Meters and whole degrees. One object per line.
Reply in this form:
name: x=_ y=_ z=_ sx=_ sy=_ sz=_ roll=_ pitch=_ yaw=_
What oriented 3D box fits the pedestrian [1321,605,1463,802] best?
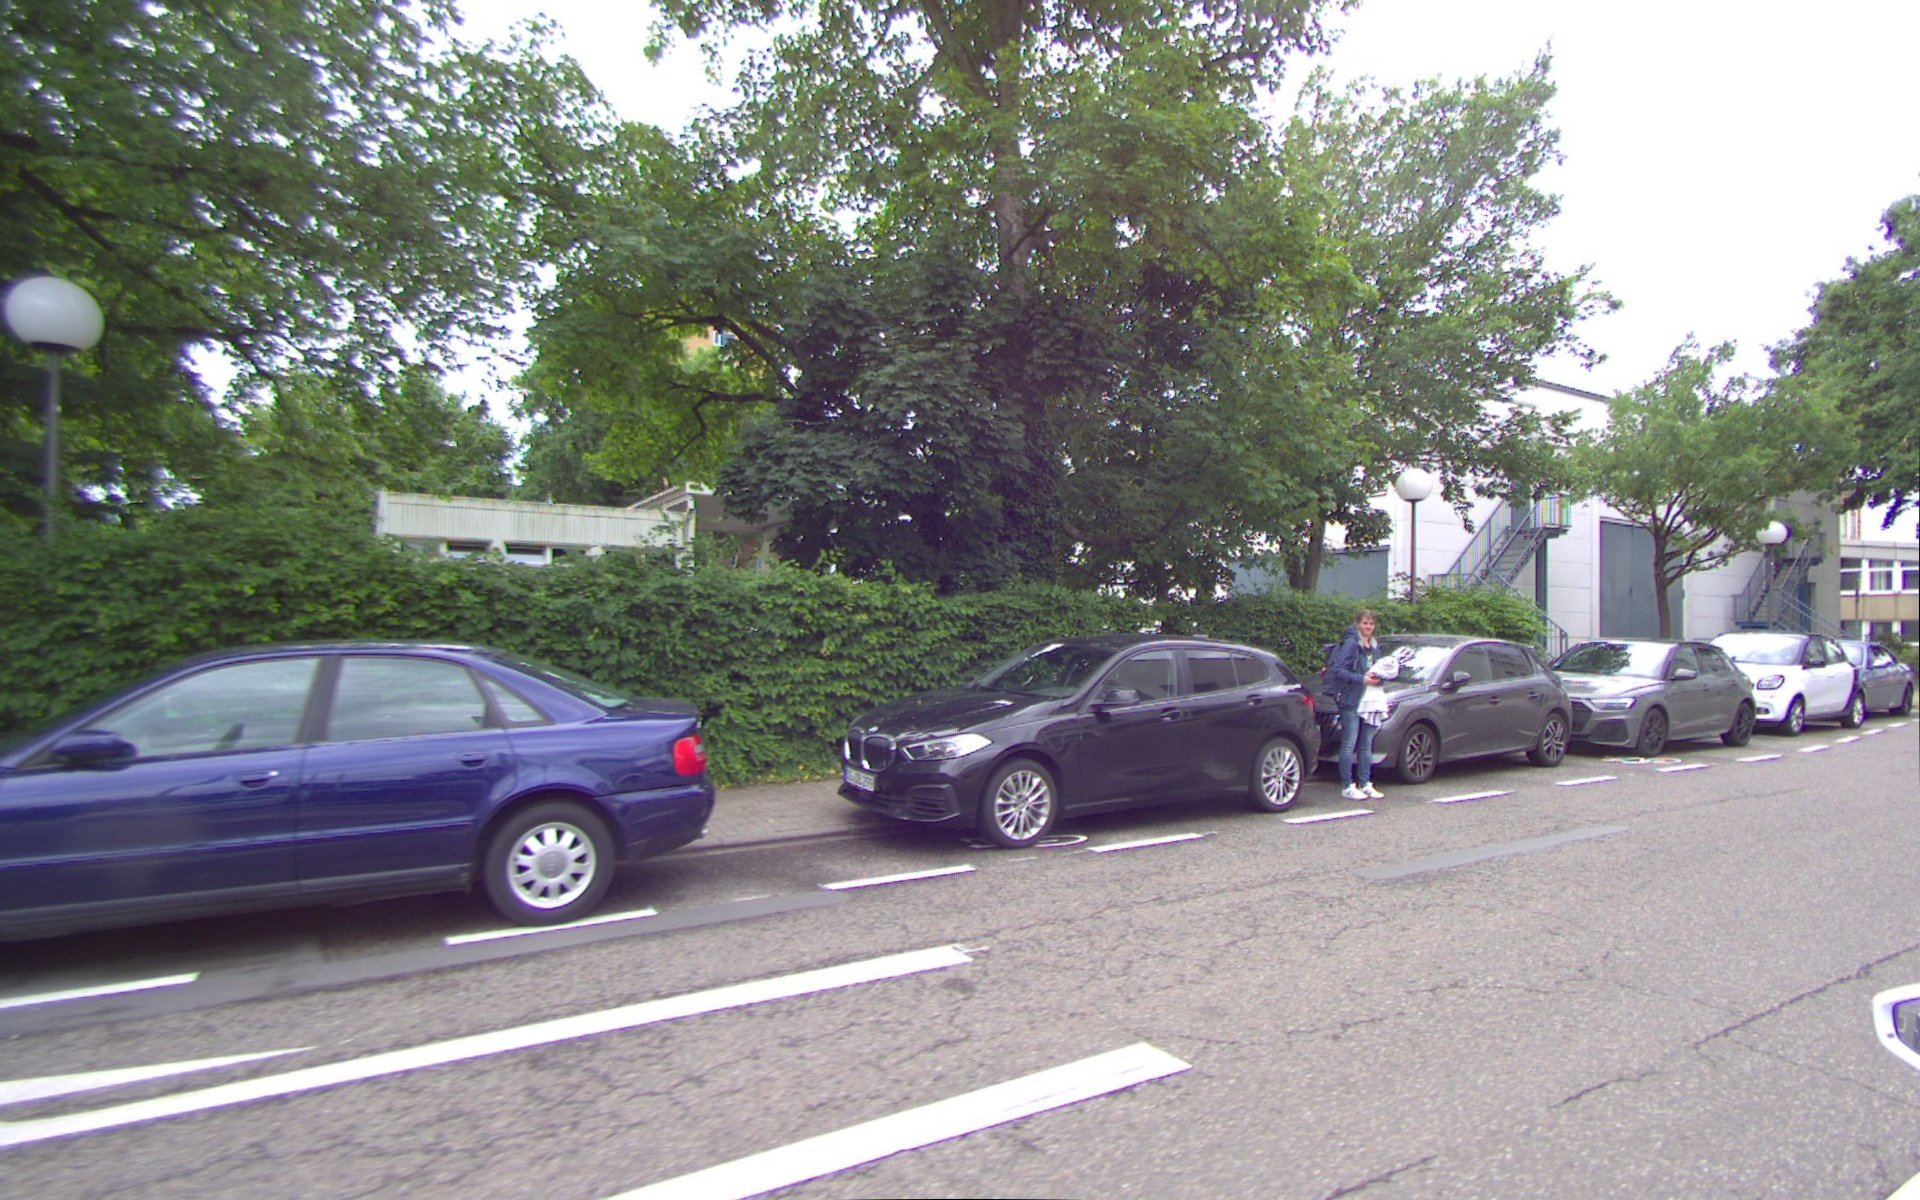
pedestrian: x=3.929 y=0.896 z=9.159 sx=0.956 sy=1.683 sz=0.735 roll=0 pitch=-2 yaw=-30

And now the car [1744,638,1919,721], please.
car: x=17.042 y=1.451 z=19.390 sx=4.150 sy=1.407 sz=1.807 roll=1 pitch=-1 yaw=-34

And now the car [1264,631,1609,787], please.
car: x=5.430 y=1.120 z=11.373 sx=3.781 sy=1.490 sz=1.753 roll=2 pitch=-2 yaw=-31

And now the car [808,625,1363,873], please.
car: x=1.153 y=1.009 z=8.394 sx=4.478 sy=1.581 sz=1.789 roll=1 pitch=-2 yaw=-31

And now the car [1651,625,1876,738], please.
car: x=13.124 y=1.228 z=16.360 sx=3.834 sy=1.607 sz=1.707 roll=1 pitch=-1 yaw=-32

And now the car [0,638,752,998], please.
car: x=-3.434 y=0.927 z=5.257 sx=4.281 sy=1.426 sz=1.791 roll=2 pitch=-2 yaw=-27

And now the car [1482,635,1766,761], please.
car: x=9.009 y=1.210 z=13.562 sx=3.965 sy=1.430 sz=1.753 roll=1 pitch=-1 yaw=-33
